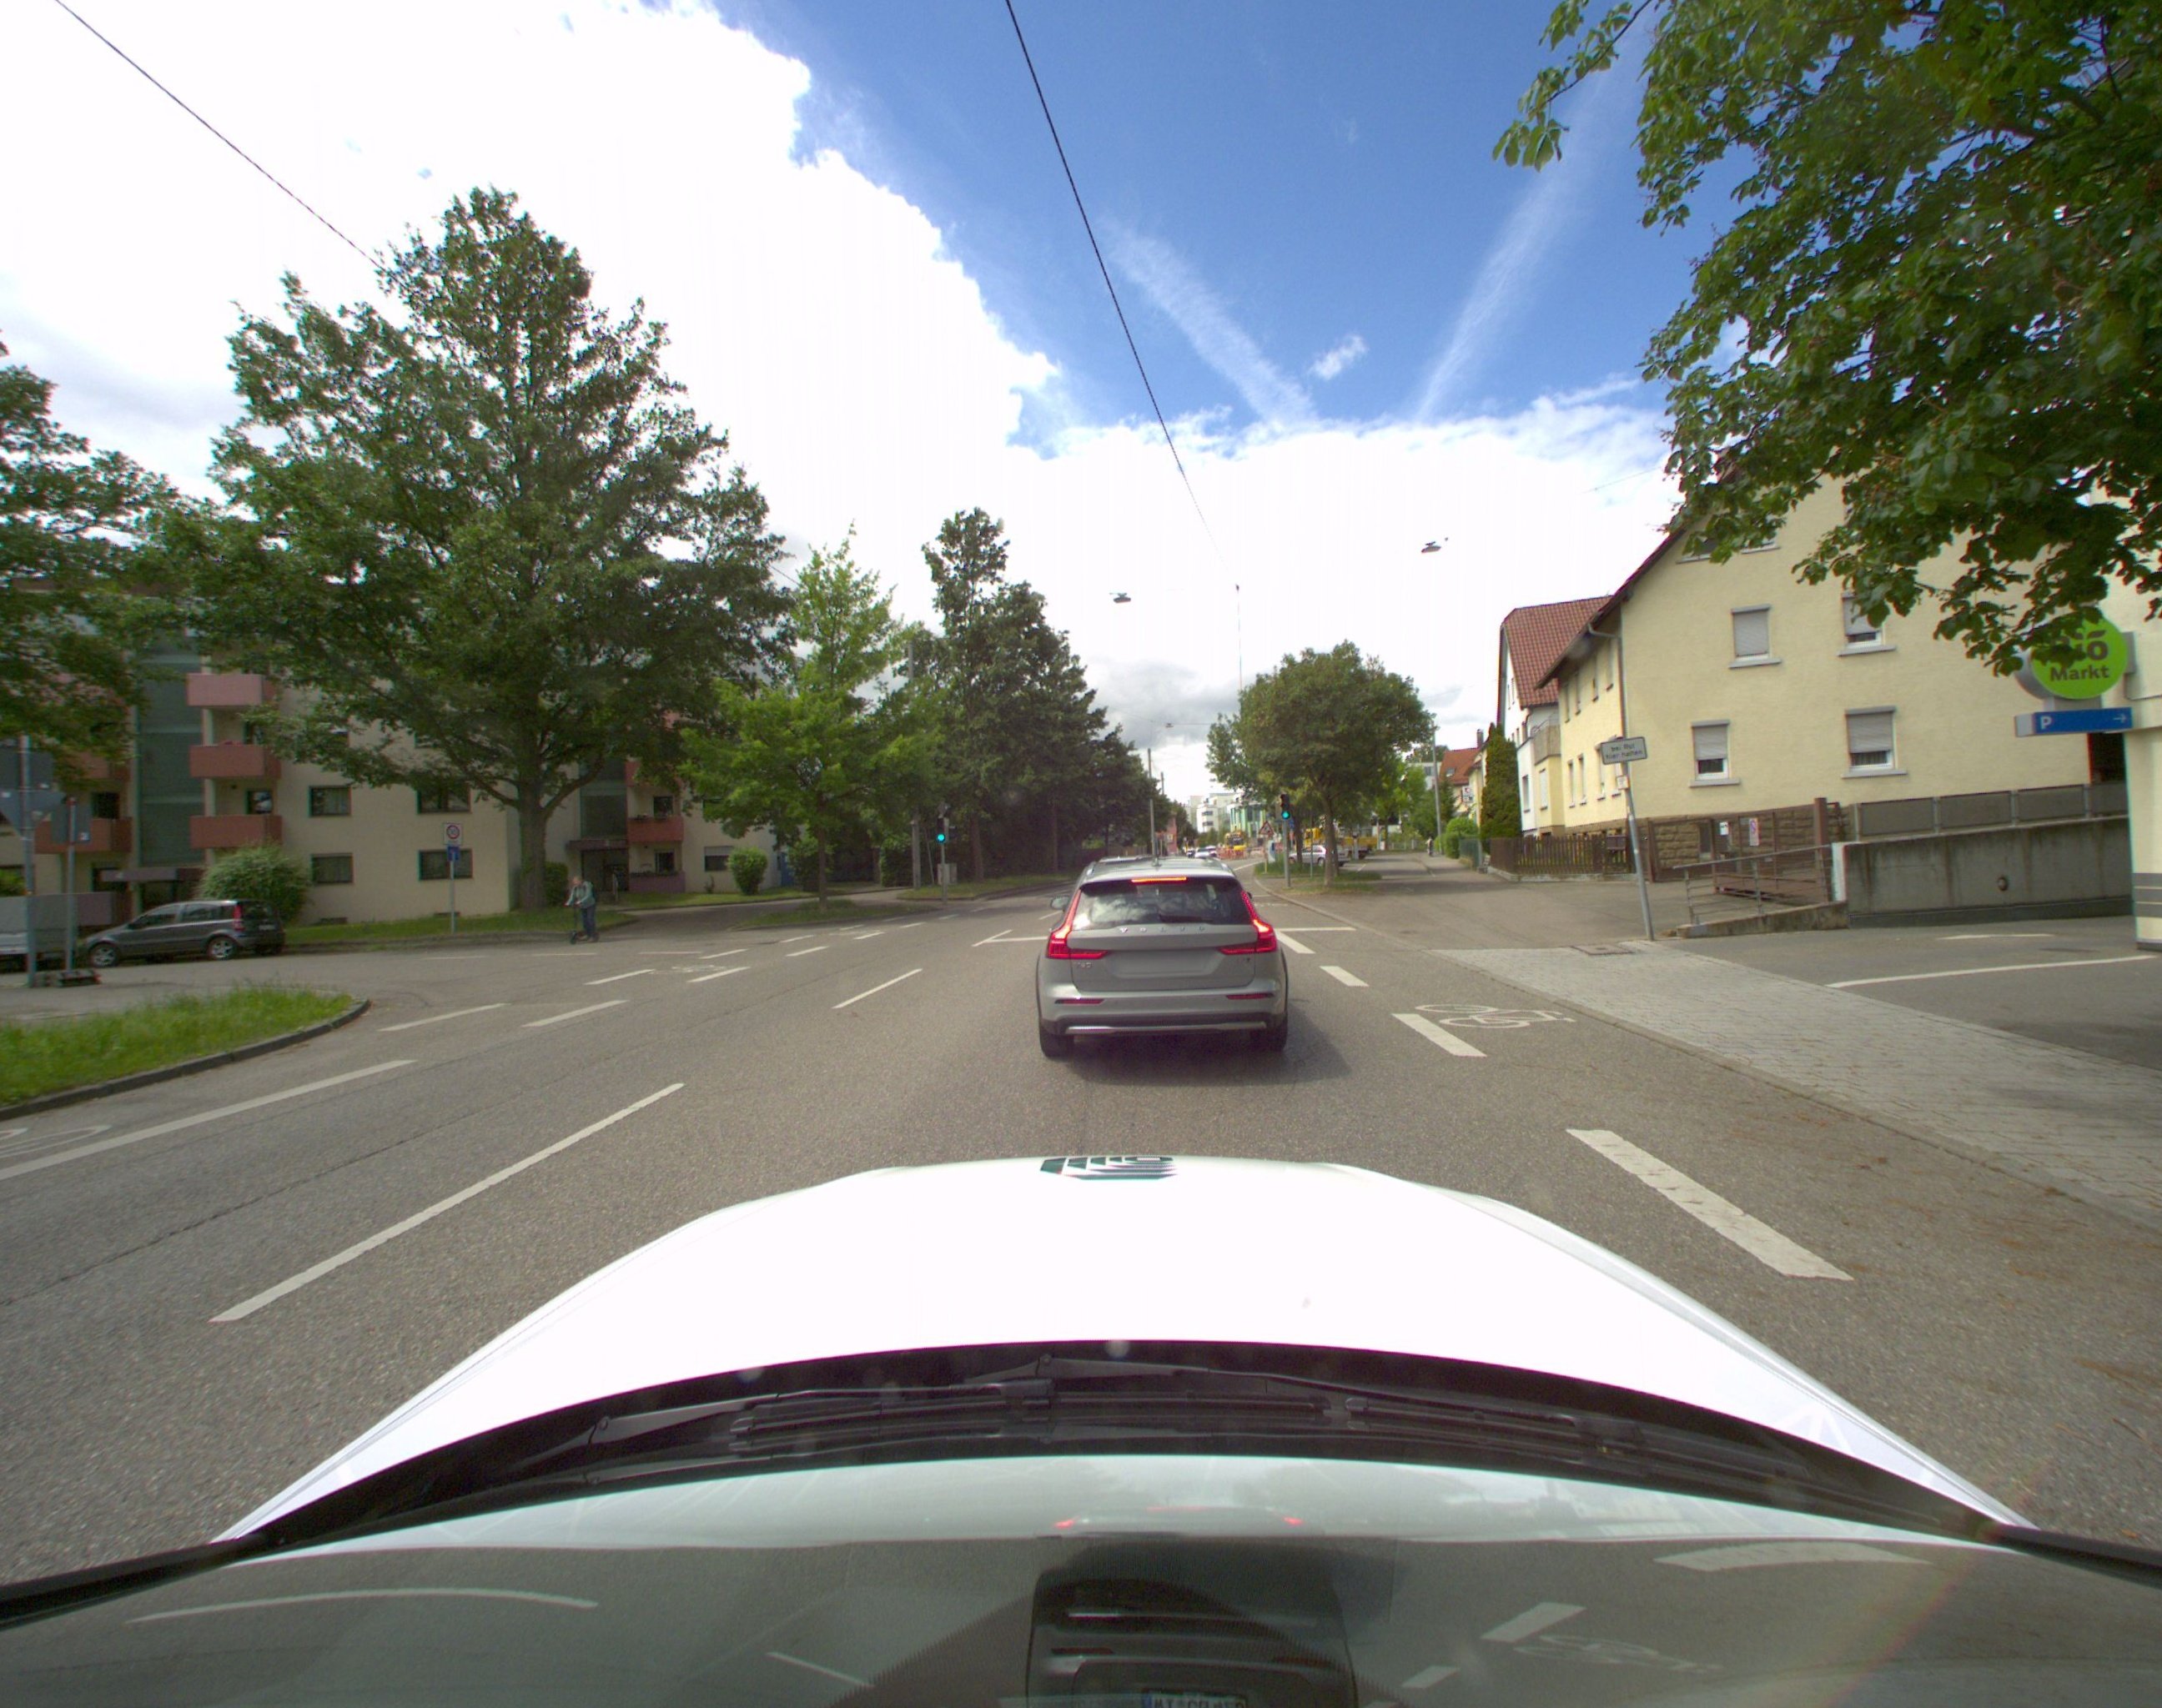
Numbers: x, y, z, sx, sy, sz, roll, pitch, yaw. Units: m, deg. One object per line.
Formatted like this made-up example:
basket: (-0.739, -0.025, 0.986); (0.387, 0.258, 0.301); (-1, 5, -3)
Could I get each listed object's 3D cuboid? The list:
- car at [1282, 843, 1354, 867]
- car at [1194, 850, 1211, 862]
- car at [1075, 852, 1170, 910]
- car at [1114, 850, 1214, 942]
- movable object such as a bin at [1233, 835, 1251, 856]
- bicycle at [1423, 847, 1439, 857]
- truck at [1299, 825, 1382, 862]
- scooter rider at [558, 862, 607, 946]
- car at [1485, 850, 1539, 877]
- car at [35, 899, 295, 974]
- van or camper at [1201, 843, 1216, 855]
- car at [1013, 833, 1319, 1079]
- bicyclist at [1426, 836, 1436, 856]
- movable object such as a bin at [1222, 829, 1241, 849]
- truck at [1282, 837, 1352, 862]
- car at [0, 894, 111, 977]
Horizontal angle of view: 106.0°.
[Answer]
car: (15.631, 0.075, 54.017); (1.773, 1.451, 4.644); (-2, 0, -30)
car: (14.613, 0.274, 97.624); (1.816, 1.330, 4.012); (0, -2, 11)
car: (1.294, 0.736, 23.607); (2.088, 1.510, 4.014); (0, -1, 13)
car: (1.531, 0.718, 15.411); (1.653, 1.508, 3.707); (0, -1, 5)
movable object such as a bin: (21.500, -1.106, 108.838); (2.020, 2.642, 5.961); (-3, 0, 13)
bicycle: (28.758, -0.125, 66.914); (0.592, 0.812, 1.754); (0, 0, 1)
truck: (22.249, -0.813, 70.178); (2.780, 3.008, 6.639); (0, -1, -32)
scooter rider: (-12.139, 1.195, 19.845); (0.674, 2.014, 0.794); (0, -1, 1)
car: (19.177, 0.424, 36.356); (1.450, 1.124, 3.889); (0, -1, 18)
car: (-22.794, 2.019, 20.460); (3.995, 1.452, 1.687); (-3, 0, -16)
van or camper: (19.510, -0.728, 124.537); (1.848, 1.776, 4.395); (-2, 0, 12)
car: (0.692, 0.676, 7.266); (1.919, 1.540, 4.005); (-2, 0, 4)
bicyclist: (28.751, -0.651, 66.833); (0.587, 1.559, 0.567); (0, -1, 1)
movable object such as a bin: (24.322, -2.367, 132.067); (2.299, 2.990, 6.436); (-3, 0, 5)
truck: (19.827, -0.329, 68.593); (2.008, 2.014, 5.616); (0, -1, -35)
car: (-27.056, 2.111, 19.902); (3.990, 1.844, 1.838); (-5, -4, -12)
